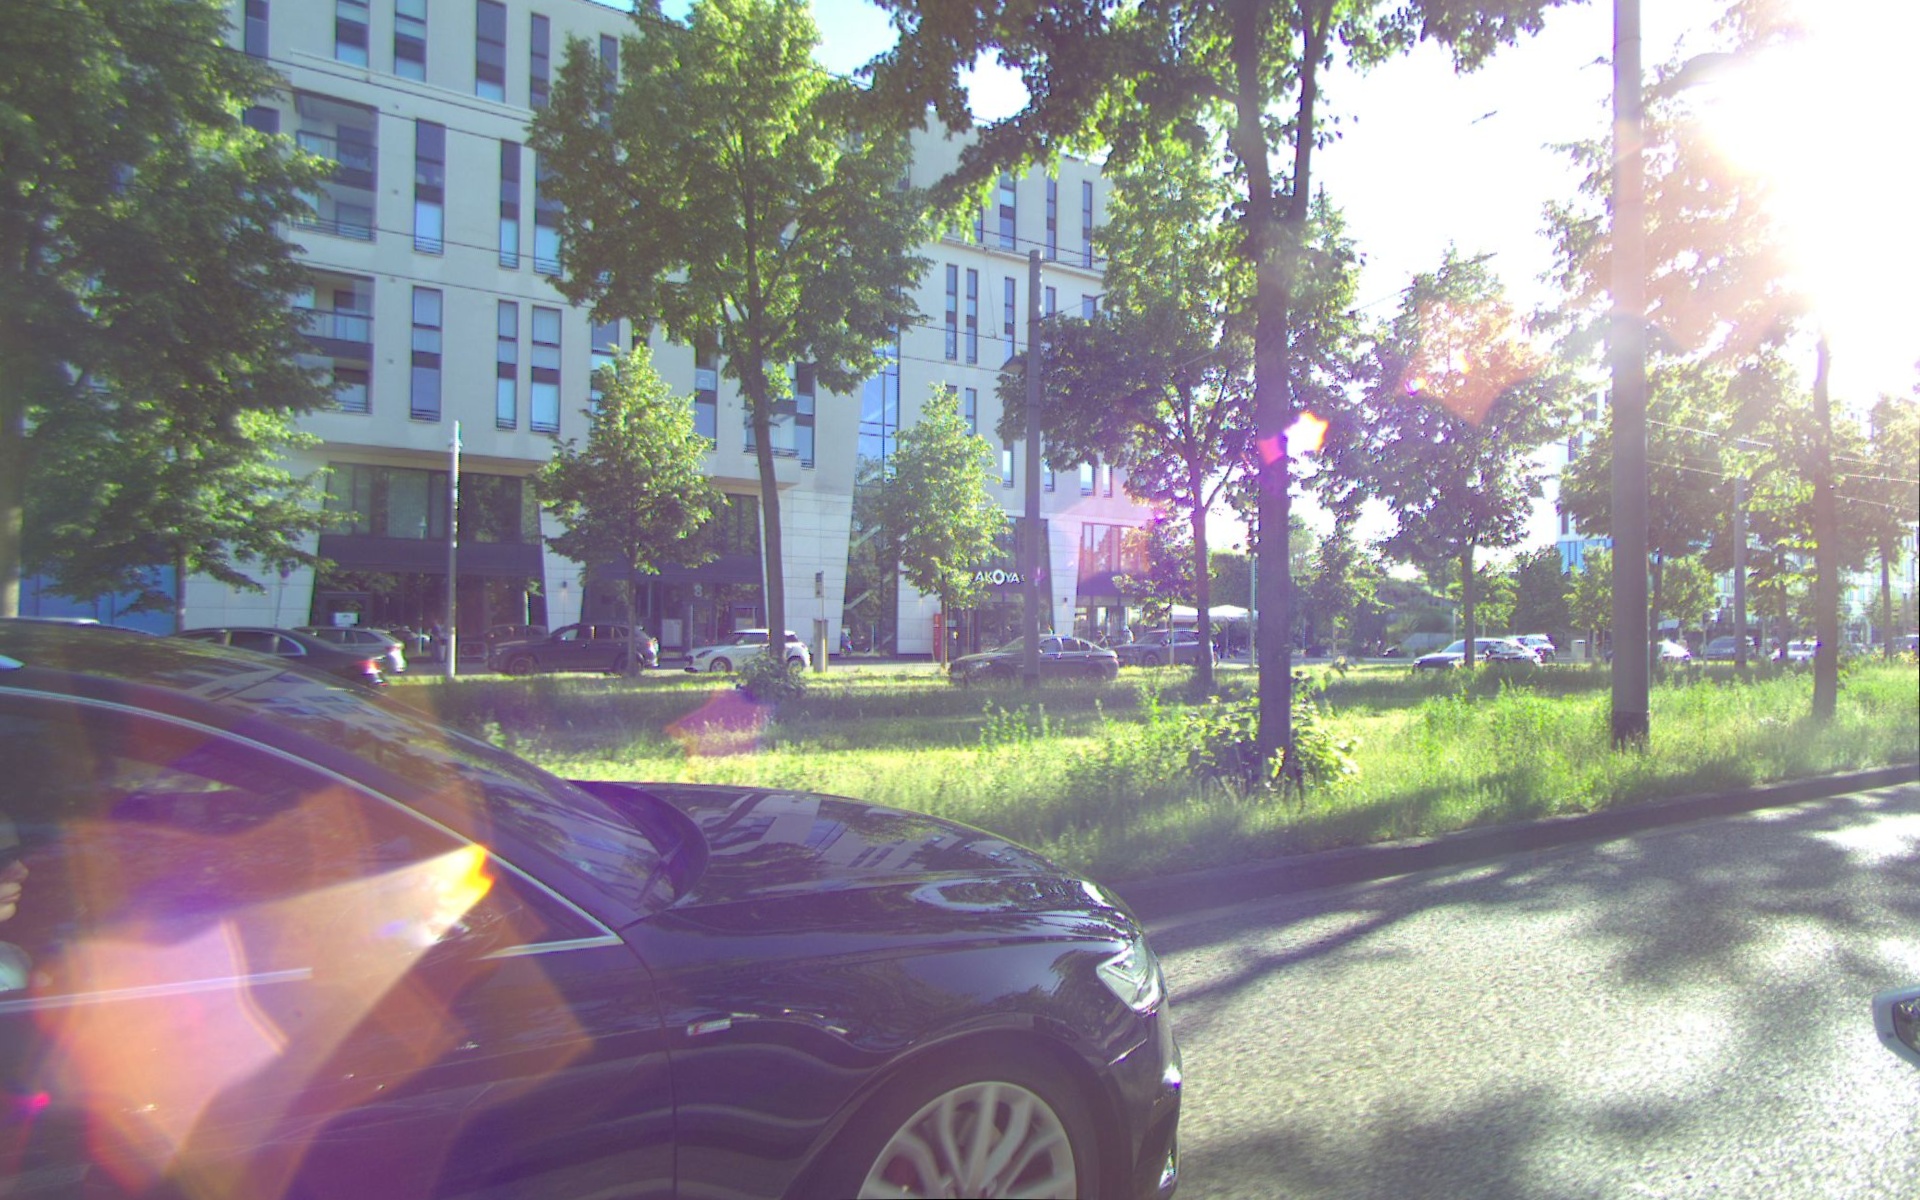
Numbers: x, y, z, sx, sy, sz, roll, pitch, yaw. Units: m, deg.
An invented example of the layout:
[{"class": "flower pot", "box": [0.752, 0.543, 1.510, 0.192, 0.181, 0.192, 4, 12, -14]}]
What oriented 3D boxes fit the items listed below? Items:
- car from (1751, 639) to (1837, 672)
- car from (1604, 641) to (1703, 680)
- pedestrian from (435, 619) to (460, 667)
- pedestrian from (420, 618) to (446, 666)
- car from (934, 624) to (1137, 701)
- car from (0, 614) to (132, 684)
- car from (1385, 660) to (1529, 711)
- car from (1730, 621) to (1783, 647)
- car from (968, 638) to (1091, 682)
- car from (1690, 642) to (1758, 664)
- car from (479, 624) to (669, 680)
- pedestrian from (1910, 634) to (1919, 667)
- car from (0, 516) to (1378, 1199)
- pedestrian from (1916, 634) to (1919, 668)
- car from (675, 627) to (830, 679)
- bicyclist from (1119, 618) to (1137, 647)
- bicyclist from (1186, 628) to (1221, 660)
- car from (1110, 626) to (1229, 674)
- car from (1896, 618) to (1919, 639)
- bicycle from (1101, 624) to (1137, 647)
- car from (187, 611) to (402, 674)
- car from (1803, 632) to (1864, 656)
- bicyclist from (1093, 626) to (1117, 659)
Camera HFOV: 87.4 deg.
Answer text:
[{"class": "car", "box": [43.094, 2.859, 51.898, 4.114, 1.592, 1.986, 1, -2, -28]}, {"class": "car", "box": [30.483, 2.643, 44.147, 4.269, 1.548, 1.984, 2, -1, -31]}, {"class": "pedestrian", "box": [-18.213, 1.529, 35.703, 0.712, 1.673, 0.632, 2, 0, -33]}, {"class": "pedestrian", "box": [-18.985, 1.509, 36.179, 0.713, 1.673, 0.631, 2, 0, -38]}, {"class": "car", "box": [2.047, 1.599, 26.572, 5.189, 1.865, 1.984, 1, -1, -31]}, {"class": "car", "box": [-21.682, 1.080, 22.604, 4.405, 1.460, 1.983, 2, -1, -31]}, {"class": "car", "box": [16.084, 2.725, 32.487, 4.400, 1.460, 1.985, 2, -1, -28]}, {"class": "car", "box": [67.952, 2.875, 85.679, 4.509, 2.040, 1.984, 2, 0, -30]}, {"class": "car", "box": [2.605, 2.220, 37.346, 4.216, 1.460, 1.948, 2, -1, -30]}, {"class": "car", "box": [50.304, 3.512, 66.144, 4.556, 1.343, 1.904, 2, -1, -30]}, {"class": "car", "box": [-11.233, 1.493, 29.335, 4.884, 1.460, 1.982, 2, -1, -33]}, {"class": "pedestrian", "box": [43.775, 2.306, 45.758, 0.595, 1.516, 0.541, 2, 0, -26]}, {"class": "car", "box": [-1.621, 0.674, 1.889, 5.029, 1.500, 1.942, 1, -1, -33]}, {"class": "pedestrian", "box": [43.347, 2.294, 44.986, 0.580, 1.538, 0.548, 2, 0, -25]}, {"class": "car", "box": [-6.567, 1.672, 31.955, 4.408, 1.460, 1.982, 2, -1, -33]}, {"class": "bicyclist", "box": [7.805, 1.493, 46.651, 0.710, 1.320, 0.366, 2, 0, -29]}, {"class": "bicyclist", "box": [10.982, 1.990, 45.260, 1.641, 1.424, 0.486, 2, 0, -31]}, {"class": "car", "box": [8.552, 2.008, 40.923, 4.725, 1.795, 1.982, 2, -1, -33]}, {"class": "car", "box": [96.619, 2.899, 101.246, 4.509, 2.040, 1.984, 2, 0, -30]}, {"class": "bicycle", "box": [7.334, 1.628, 46.387, 1.778, 1.030, 0.377, 2, 0, -29]}, {"class": "car", "box": [-16.933, 1.089, 25.794, 4.408, 1.460, 1.982, 2, -1, -33]}, {"class": "car", "box": [64.849, 3.265, 74.538, 4.556, 1.694, 1.984, 2, 0, -30]}, {"class": "bicyclist", "box": [6.475, 1.896, 44.808, 0.944, 1.438, 0.428, 2, 0, -29]}]
